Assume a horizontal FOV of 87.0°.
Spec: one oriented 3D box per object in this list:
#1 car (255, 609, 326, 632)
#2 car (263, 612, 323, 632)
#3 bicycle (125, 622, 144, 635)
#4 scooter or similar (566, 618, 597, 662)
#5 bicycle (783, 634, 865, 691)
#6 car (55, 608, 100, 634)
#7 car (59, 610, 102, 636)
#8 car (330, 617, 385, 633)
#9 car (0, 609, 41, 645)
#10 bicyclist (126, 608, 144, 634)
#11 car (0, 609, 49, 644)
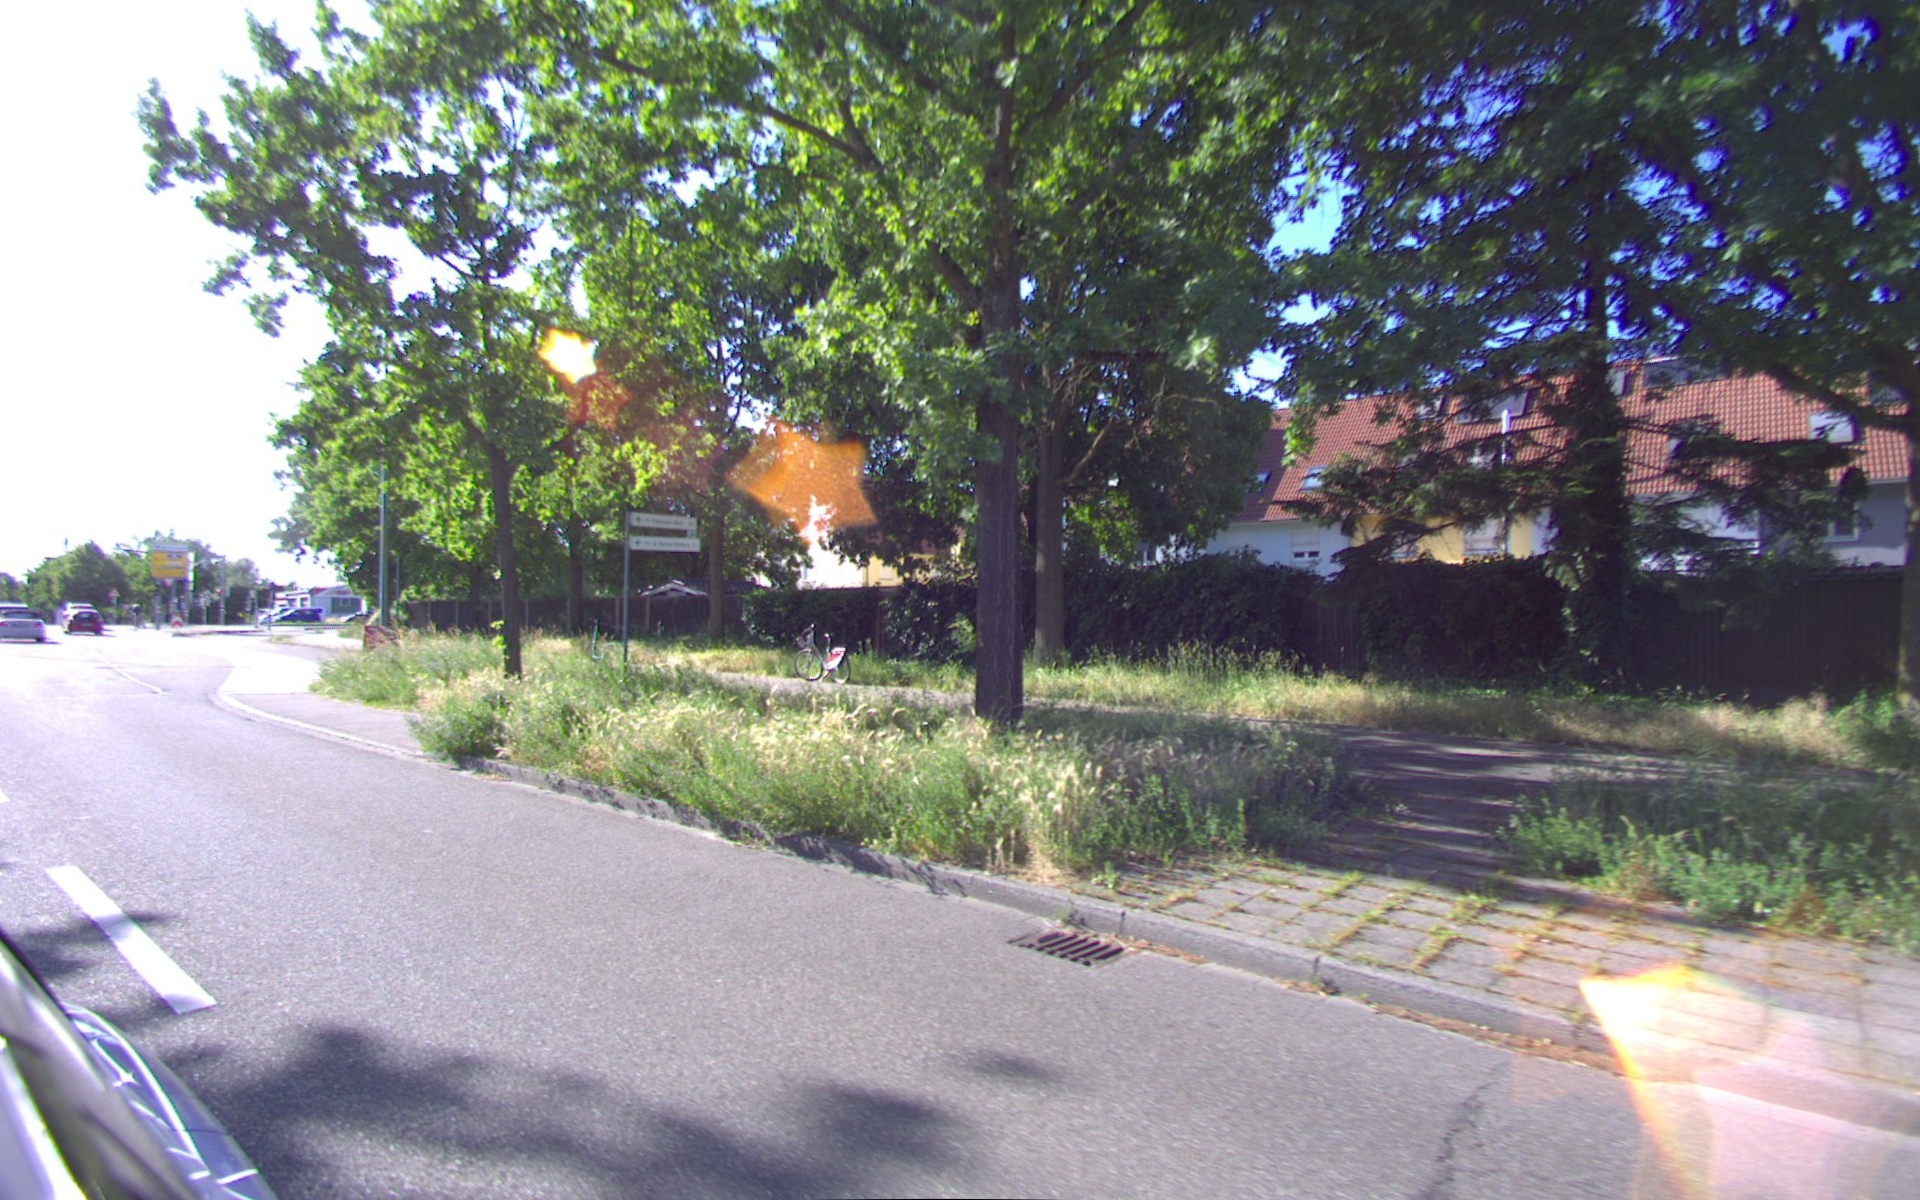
[{"bbox_3d":[-62.680,1.932,94.824,2.047,2.029,5.203,-4,-4,41],"label":"car"},{"bbox_3d":[-58.537,1.975,88.861,1.892,1.657,3.984,-4,-4,41],"label":"car"},{"bbox_3d":[-54.594,1.891,66.949,1.991,0.854,0.740,-1,-2,44],"label":"bicycle"},{"bbox_3d":[-10.823,1.140,28.905,0.531,1.228,1.417,-1,-2,-32],"label":"scooter or similar"},{"bbox_3d":[-2.723,1.215,20.140,1.879,1.061,0.500,0,-2,42],"label":"bicycle"},{"bbox_3d":[-59.465,1.408,68.139,1.970,1.656,4.533,3,-3,-44],"label":"car"},{"bbox_3d":[-51.016,1.334,58.677,1.626,1.494,3.716,3,-3,-44],"label":"car"},{"bbox_3d":[-55.293,2.304,92.935,1.892,1.284,3.984,-4,-4,41],"label":"car"},{"bbox_3d":[-45.243,1.274,48.164,4.532,1.628,1.971,-1,-3,45],"label":"car"},{"bbox_3d":[-54.581,1.388,66.958,1.242,1.715,0.736,-1,-3,45],"label":"bicyclist"},{"bbox_3d":[-41.542,1.149,44.479,4.401,1.461,1.971,-1,-3,45],"label":"car"}]
